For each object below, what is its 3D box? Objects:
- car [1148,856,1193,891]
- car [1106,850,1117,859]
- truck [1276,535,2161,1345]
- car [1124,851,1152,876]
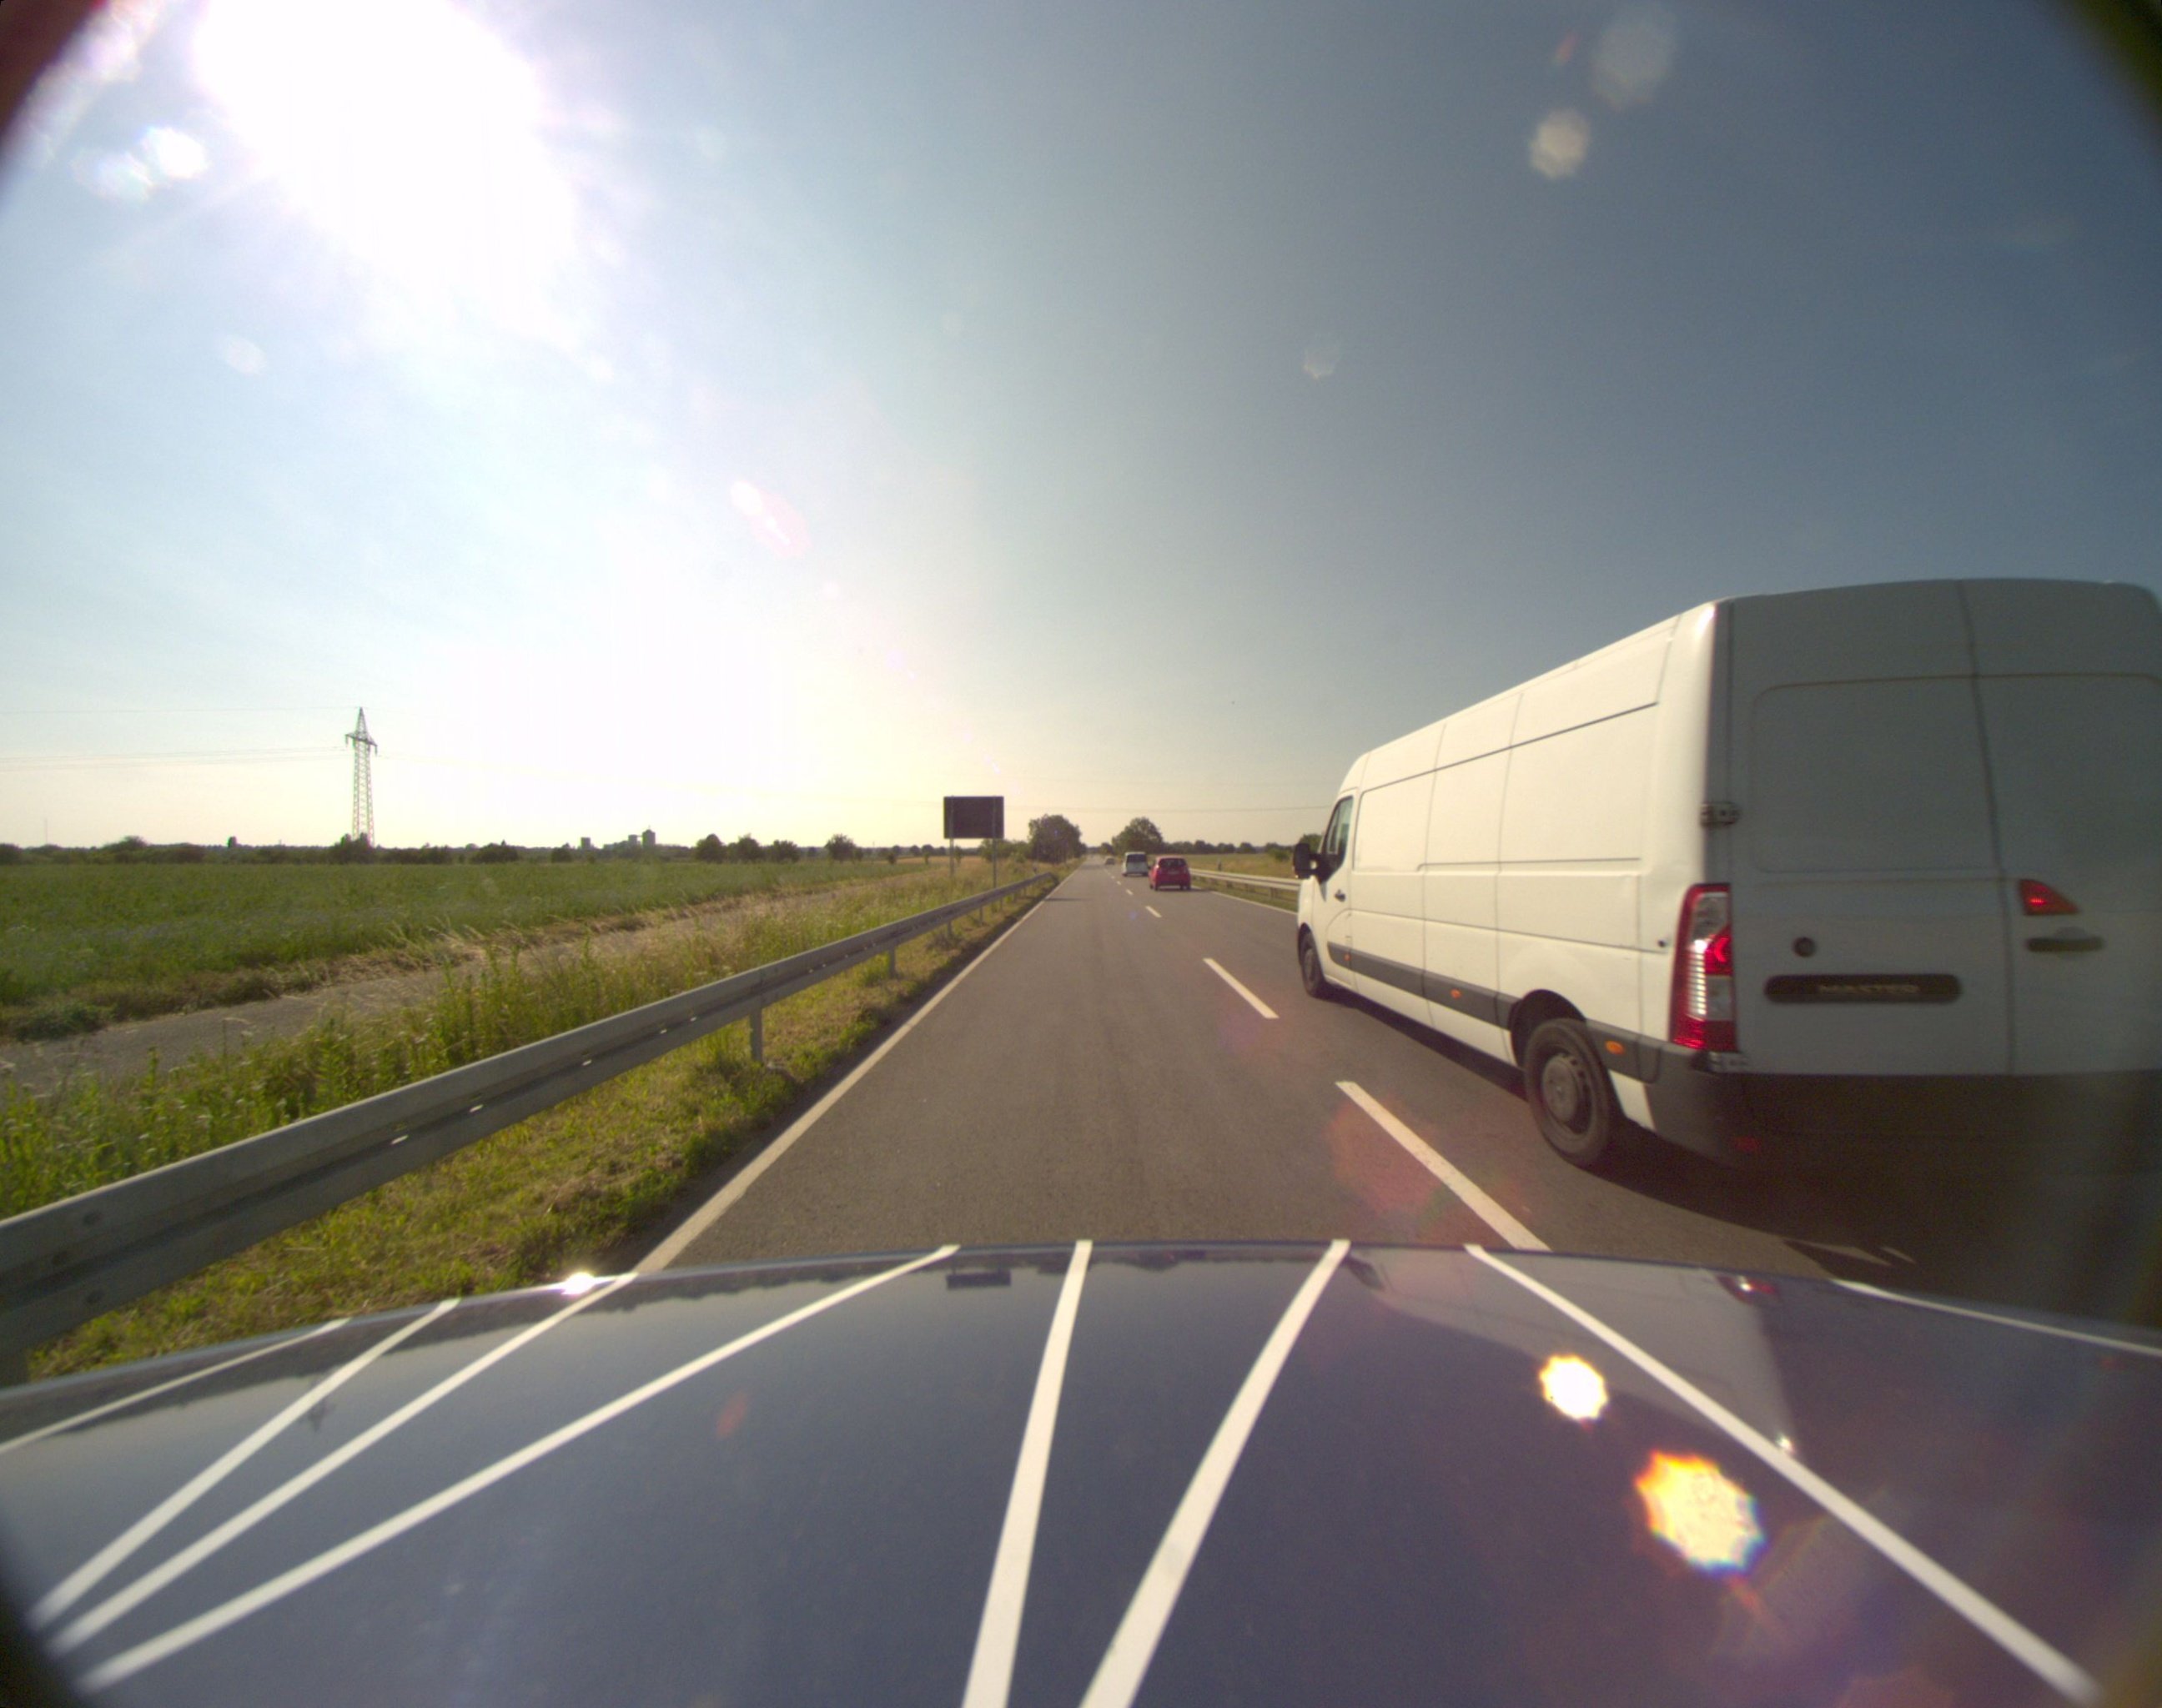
[{"bbox_3d":[4.008,0.834,34.374,1.610,1.479,3.780,-1,0,1],"label":"car"},{"bbox_3d":[5.419,0.063,136.481,1.731,1.429,4.516,-1,0,1],"label":"car"},{"bbox_3d":[3.174,0.264,5.485,1.998,2.505,6.243,-1,0,1],"label":"truck"},{"bbox_3d":[4.298,0.691,57.963,1.841,1.776,4.434,-1,0,1],"label":"car"}]
